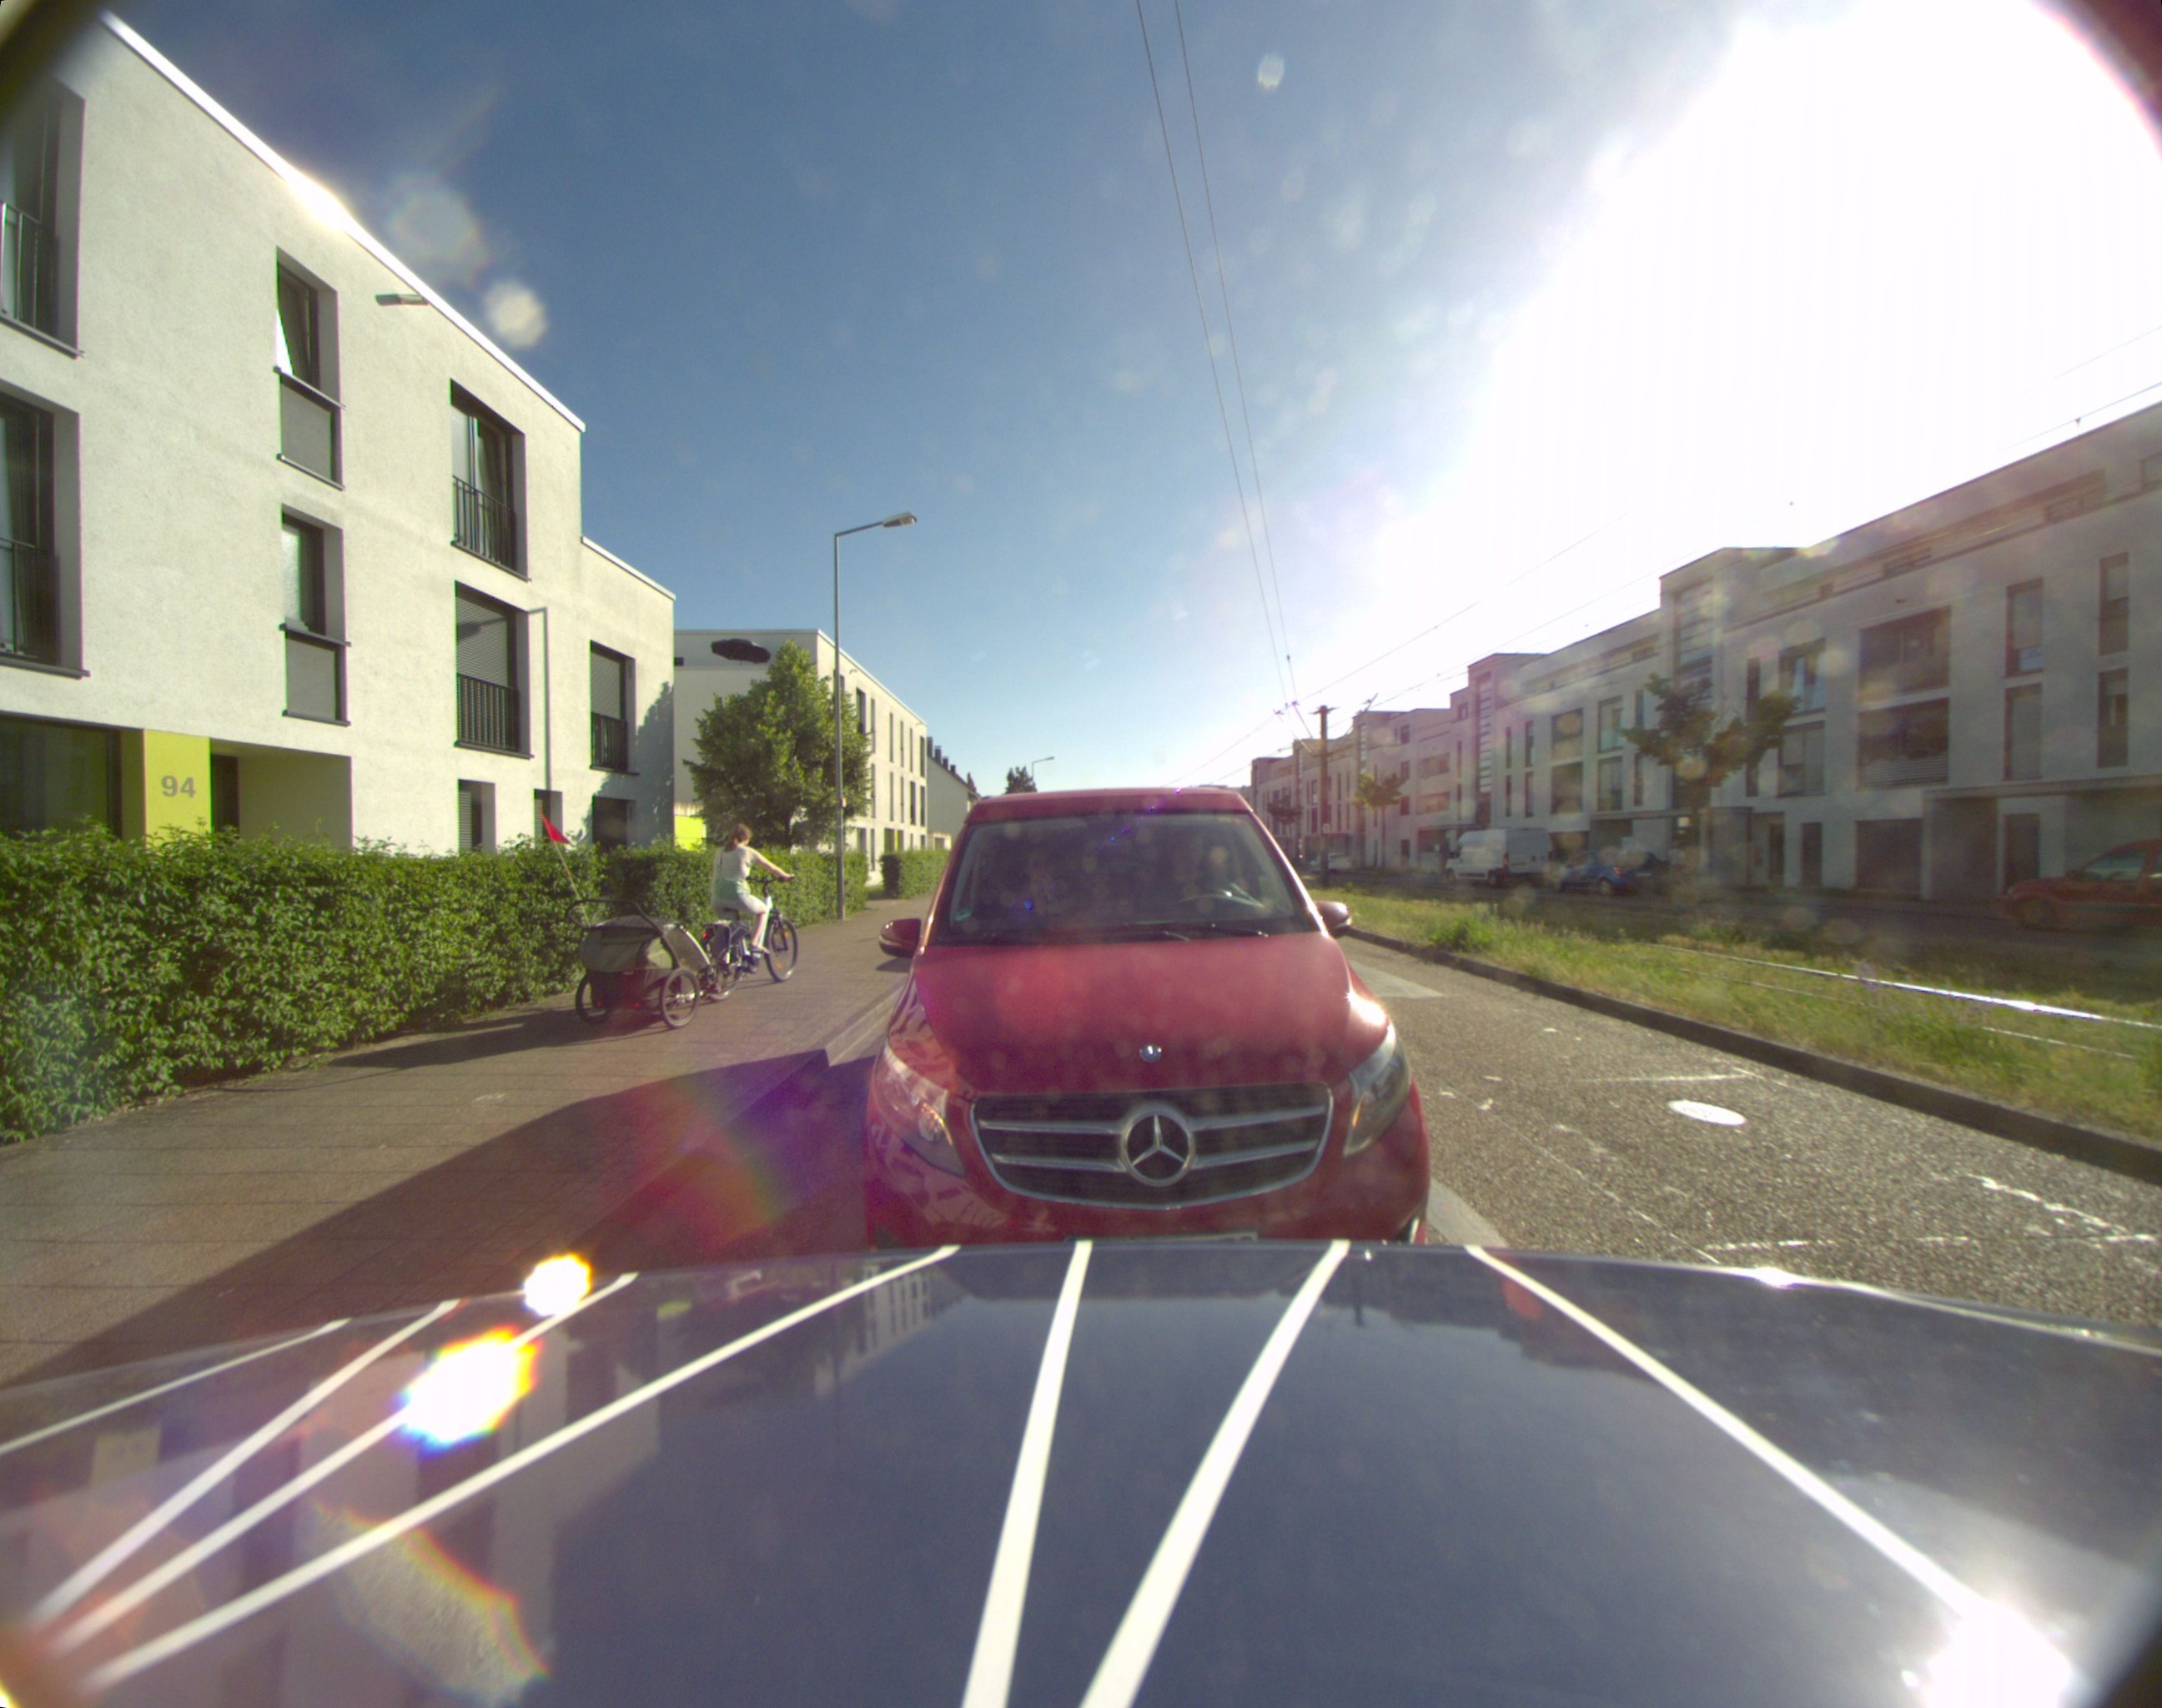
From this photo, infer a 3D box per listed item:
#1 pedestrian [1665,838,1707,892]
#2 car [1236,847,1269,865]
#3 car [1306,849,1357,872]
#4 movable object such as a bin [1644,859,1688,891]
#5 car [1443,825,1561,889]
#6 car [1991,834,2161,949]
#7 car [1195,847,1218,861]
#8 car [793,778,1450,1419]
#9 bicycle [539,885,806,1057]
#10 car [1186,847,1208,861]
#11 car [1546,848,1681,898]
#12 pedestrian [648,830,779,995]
[{"bbox_3d":[20.713,0.361,26.027,0.776,1.812,0.785,-2,1,1],"label":"pedestrian"},{"bbox_3d":[16.723,0.151,74.335,1.923,1.671,4.282,-2,1,-4],"label":"car"},{"bbox_3d":[17.638,0.432,53.720,1.923,1.497,4.282,-2,1,-4],"label":"car"},{"bbox_3d":[20.741,0.729,26.965,0.729,1.048,1.083,-2,1,1],"label":"movable object such as a bin"},{"bbox_3d":[18.173,0.091,33.151,2.225,2.458,5.195,-2,1,0],"label":"car"},{"bbox_3d":[18.620,0.594,12.789,1.998,1.817,3.895,-2,1,3],"label":"car"},{"bbox_3d":[15.479,-0.019,93.886,1.923,1.671,4.282,-2,1,-4],"label":"car"},{"bbox_3d":[0.155,0.708,4.498,1.874,1.843,4.506,-2,1,1],"label":"car"},{"bbox_3d":[-3.682,0.958,7.362,0.931,1.166,3.124,0,1,-1],"label":"bicycle"},{"bbox_3d":[15.192,-0.041,99.638,1.923,1.671,4.282,-2,1,-4],"label":"car"},{"bbox_3d":[18.380,0.592,26.480,1.999,1.536,3.835,-2,1,0],"label":"car"},{"bbox_3d":[-3.685,0.559,7.705,0.913,1.585,0.854,0,1,-2],"label":"pedestrian"}]
